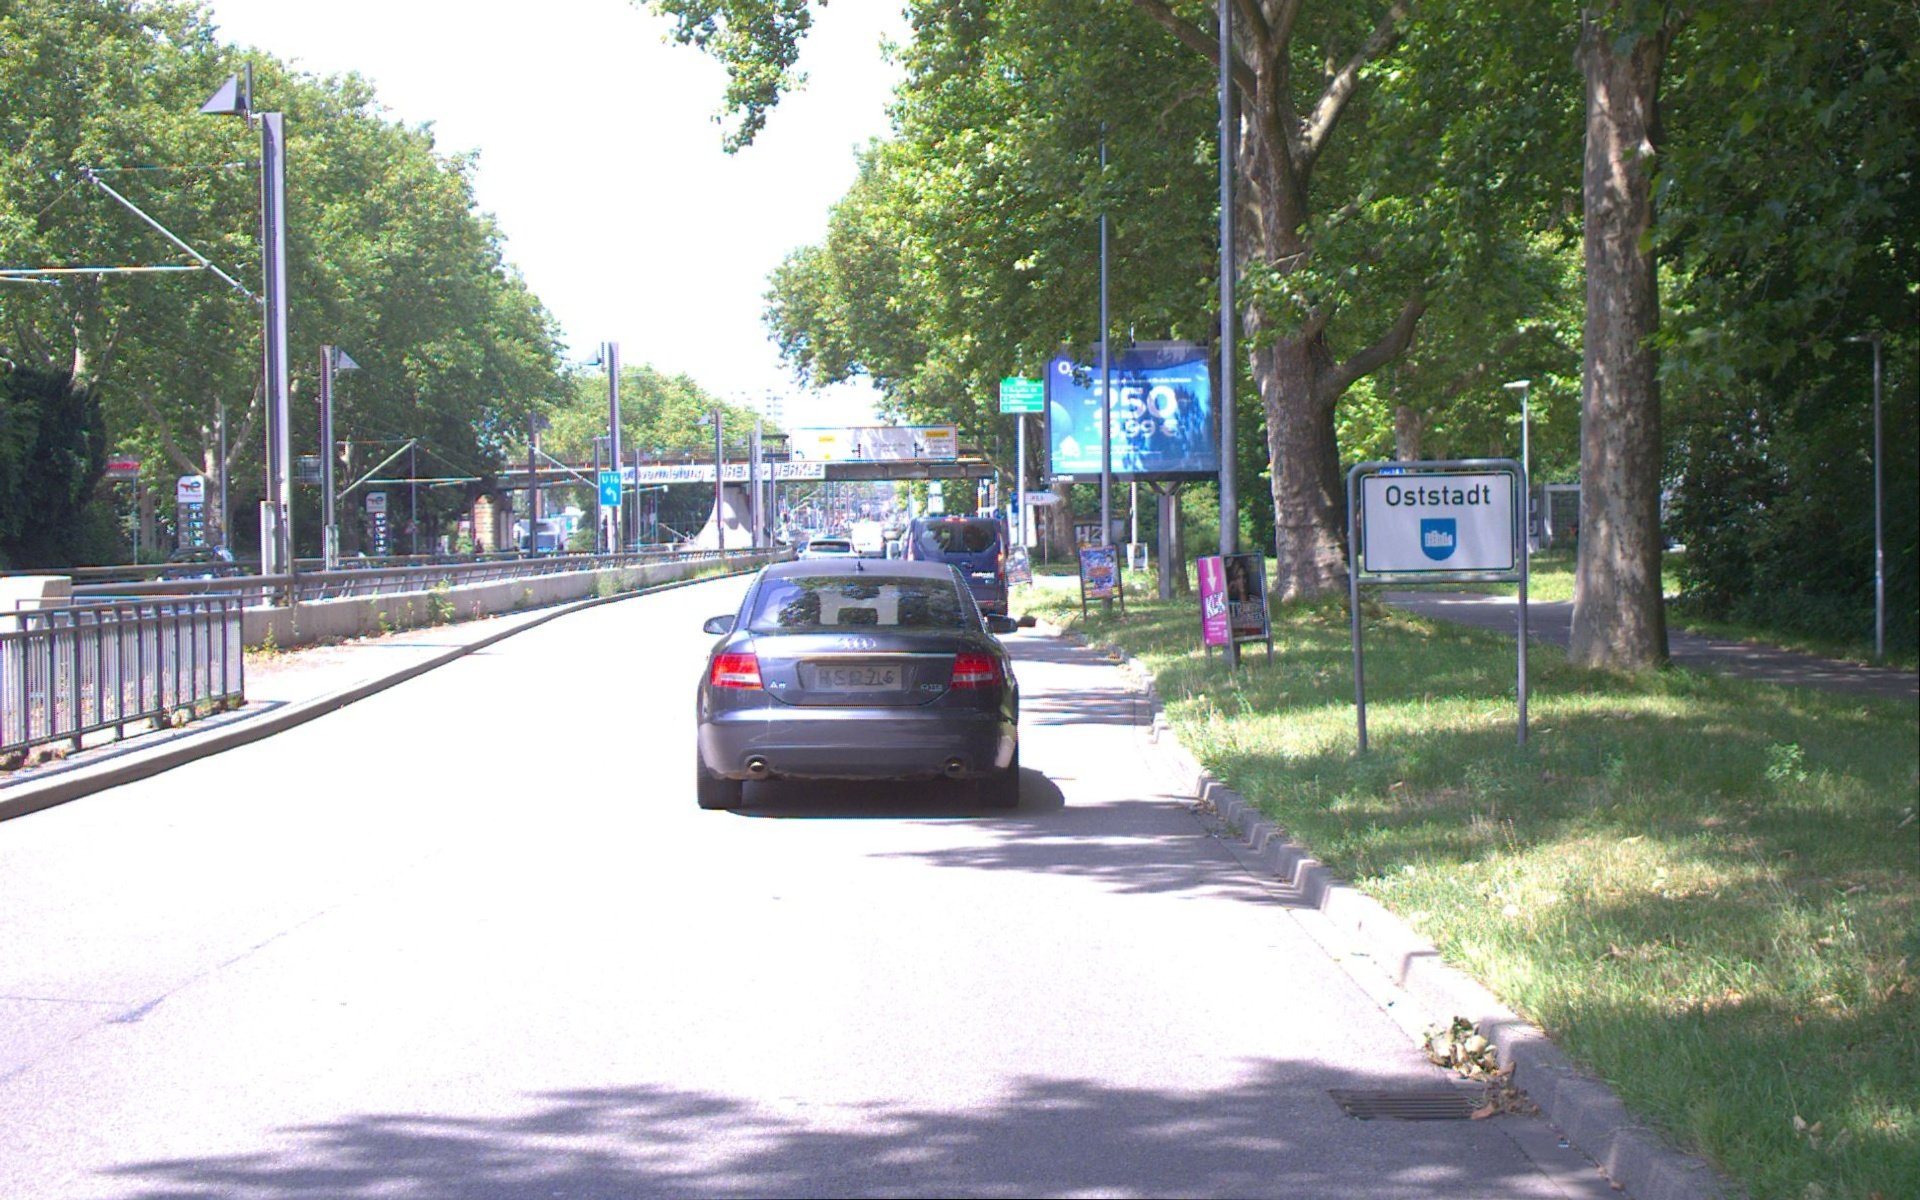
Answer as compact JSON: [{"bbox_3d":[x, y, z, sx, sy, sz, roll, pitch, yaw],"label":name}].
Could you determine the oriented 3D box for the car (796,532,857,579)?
[{"bbox_3d":[-4.201,-1.404,108.007,1.845,1.459,4.001,0,1,-2],"label":"car"}]

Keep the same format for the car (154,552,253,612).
[{"bbox_3d":[-22.773,-0.569,103.632,1.868,1.678,4.384,3,1,1],"label":"car"}]

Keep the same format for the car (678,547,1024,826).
[{"bbox_3d":[-0.704,0.433,20.389,1.842,1.479,4.001,0,1,-3],"label":"car"}]

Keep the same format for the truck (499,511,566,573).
[{"bbox_3d":[-21.418,-2.887,172.556,2.990,3.010,8.002,0,1,-5],"label":"truck"}]

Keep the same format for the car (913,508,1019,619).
[{"bbox_3d":[0.143,-0.687,63.477,1.848,1.953,4.144,1,1,1],"label":"car"}]
